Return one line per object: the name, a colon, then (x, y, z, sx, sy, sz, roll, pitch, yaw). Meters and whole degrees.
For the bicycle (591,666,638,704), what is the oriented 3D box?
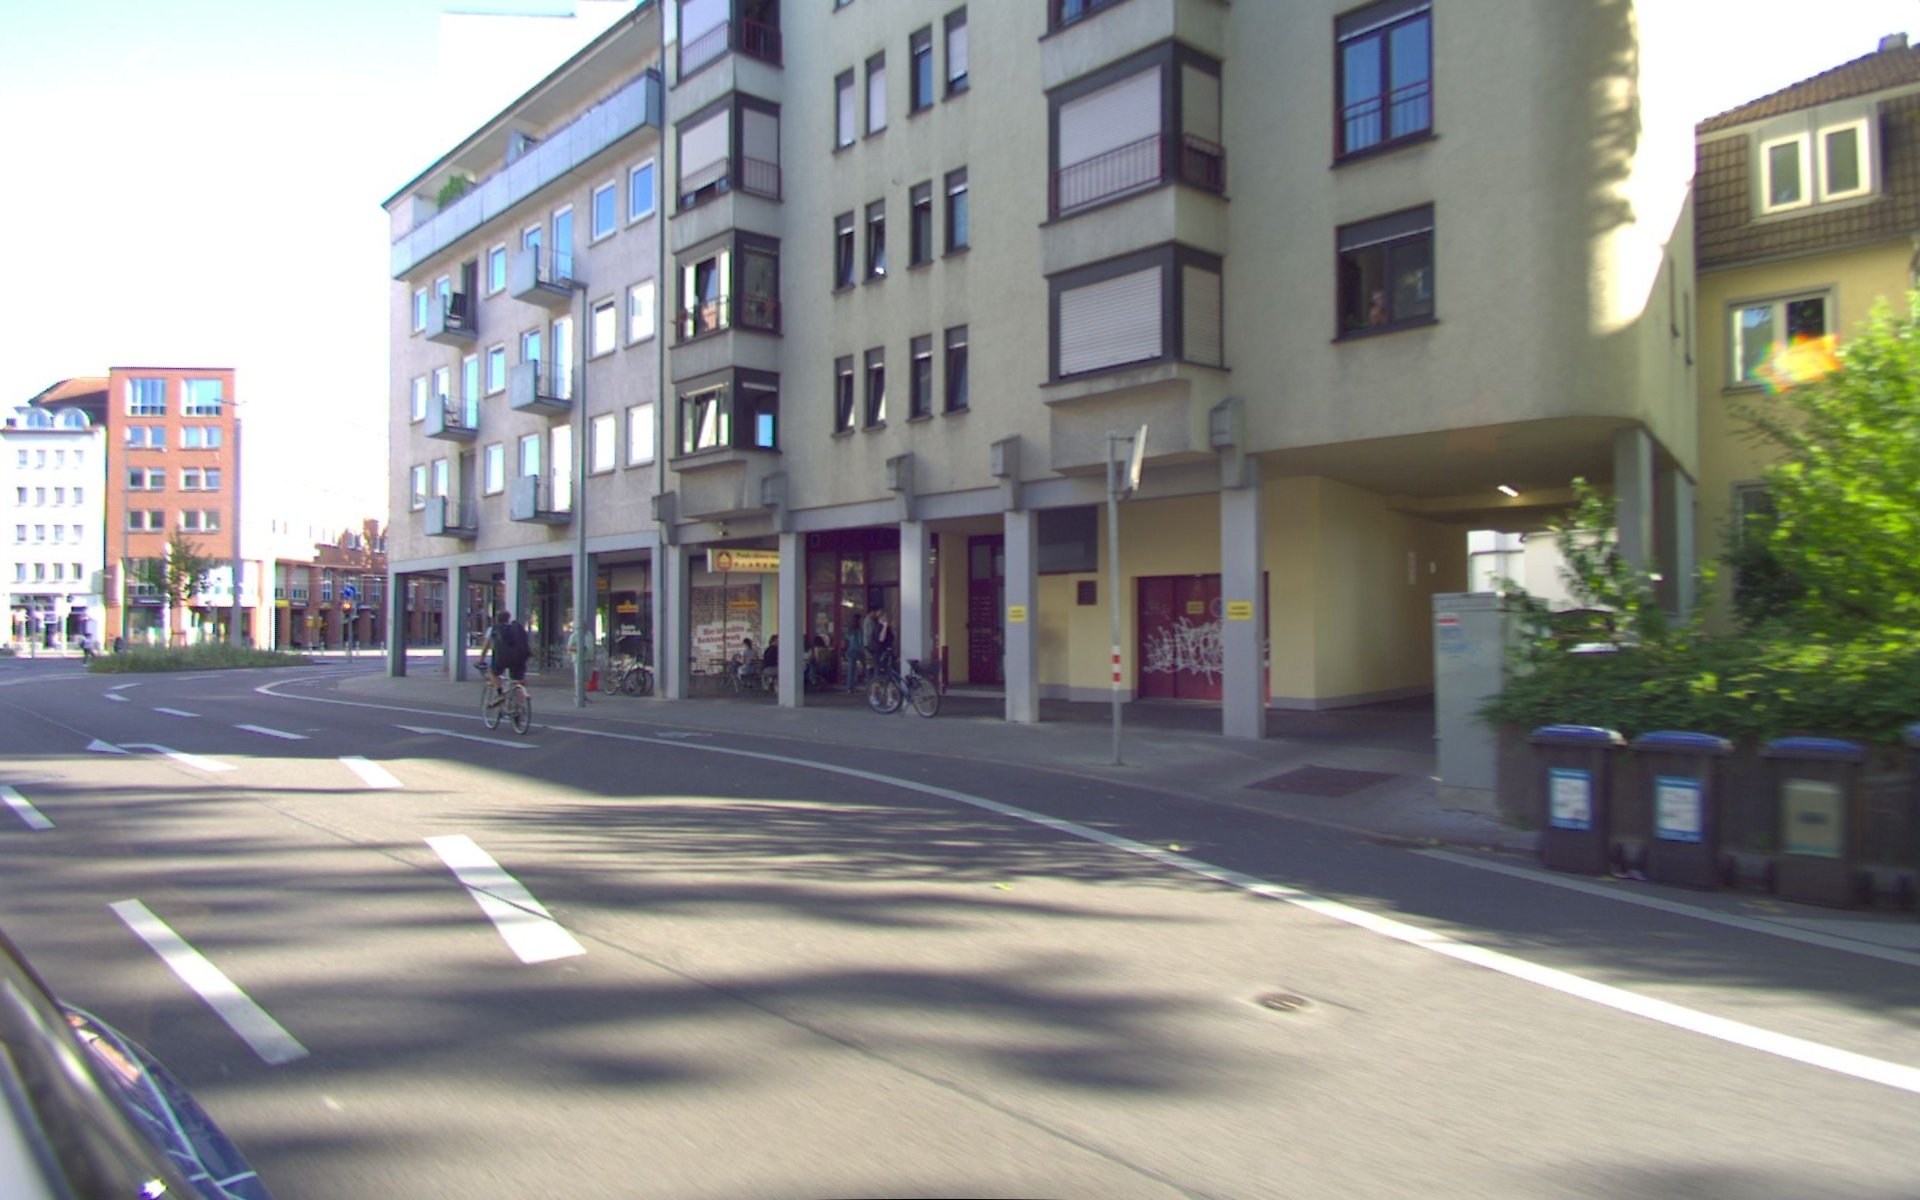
bicycle: (-7.962, 1.941, 23.278, 1.523, 0.831, 0.354, -3, -3, 44)

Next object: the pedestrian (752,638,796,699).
pedestrian: (-4.246, 1.548, 23.128, 0.700, 1.346, 0.740, 1, -2, -44)

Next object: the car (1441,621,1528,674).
car: (17.809, 1.563, 34.297, 1.853, 1.605, 3.992, -1, -1, 39)

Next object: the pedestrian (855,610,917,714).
pedestrian: (-1.398, 1.146, 19.111, 0.805, 1.884, 0.814, -2, -1, 40)

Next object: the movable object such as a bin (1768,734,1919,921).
movable object such as a bin: (5.034, 1.259, 5.750, 0.644, 0.908, 0.535, -2, -3, 41)

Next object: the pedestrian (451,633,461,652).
pedestrian: (-46.626, 3.941, 93.613, 0.546, 1.760, 0.716, -1, -1, -5)

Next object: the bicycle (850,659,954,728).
bicycle: (-0.988, 1.527, 16.880, 2.010, 1.053, 0.444, -2, -3, 41)

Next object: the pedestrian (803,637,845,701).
pedestrian: (-3.033, 1.534, 22.624, 0.700, 1.388, 0.615, 1, -2, -43)

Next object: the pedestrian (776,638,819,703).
pedestrian: (-3.563, 1.527, 22.158, 0.700, 1.363, 0.615, 1, -2, -43)

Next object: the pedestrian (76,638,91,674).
pedestrian: (-44.366, 2.827, 51.236, 0.585, 1.760, 0.503, 0, -1, -40)

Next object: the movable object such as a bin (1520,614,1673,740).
movable object such as a bin: (7.801, 0.908, 12.404, 1.367, 1.353, 1.175, -2, 2, 42)

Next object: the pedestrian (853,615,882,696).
pedestrian: (-2.072, 1.224, 22.577, 0.605, 1.755, 0.712, 0, -1, -7)

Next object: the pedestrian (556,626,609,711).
pedestrian: (-8.009, 1.435, 21.469, 0.723, 1.753, 0.823, -2, -2, 42)

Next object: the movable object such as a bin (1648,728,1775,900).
movable object such as a bin: (4.571, 1.266, 6.157, 0.559, 0.908, 0.535, -2, -3, 41)

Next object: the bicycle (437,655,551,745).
bicycle: (-6.889, 1.432, 14.917, 2.178, 1.209, 0.720, -2, -4, 43)

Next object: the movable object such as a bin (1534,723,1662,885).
movable object such as a bin: (4.127, 1.289, 6.549, 0.603, 0.908, 0.535, -2, -3, 41)

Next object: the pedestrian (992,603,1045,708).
pedestrian: (1.072, 1.001, 18.742, 0.604, 1.884, 0.798, 0, -1, -31)

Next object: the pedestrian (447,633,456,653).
pedestrian: (-46.572, 3.926, 92.685, 0.546, 1.760, 0.716, -1, -1, -5)

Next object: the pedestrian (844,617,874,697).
pedestrian: (-2.176, 1.218, 21.839, 0.605, 1.678, 0.712, 0, -1, -7)

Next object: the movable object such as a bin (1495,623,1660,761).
movable object such as a bin: (7.000, 0.991, 11.470, 1.367, 1.353, 1.175, -2, 2, 42)

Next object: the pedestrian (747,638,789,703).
pedestrian: (-4.233, 1.540, 22.289, 0.605, 1.378, 0.712, 1, -2, -43)

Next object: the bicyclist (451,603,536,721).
bicyclist: (-6.901, 0.899, 14.962, 1.167, 1.654, 0.720, -2, -3, 43)

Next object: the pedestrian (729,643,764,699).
pedestrian: (-5.021, 1.668, 23.835, 0.560, 1.277, 0.690, 0, -2, -38)
